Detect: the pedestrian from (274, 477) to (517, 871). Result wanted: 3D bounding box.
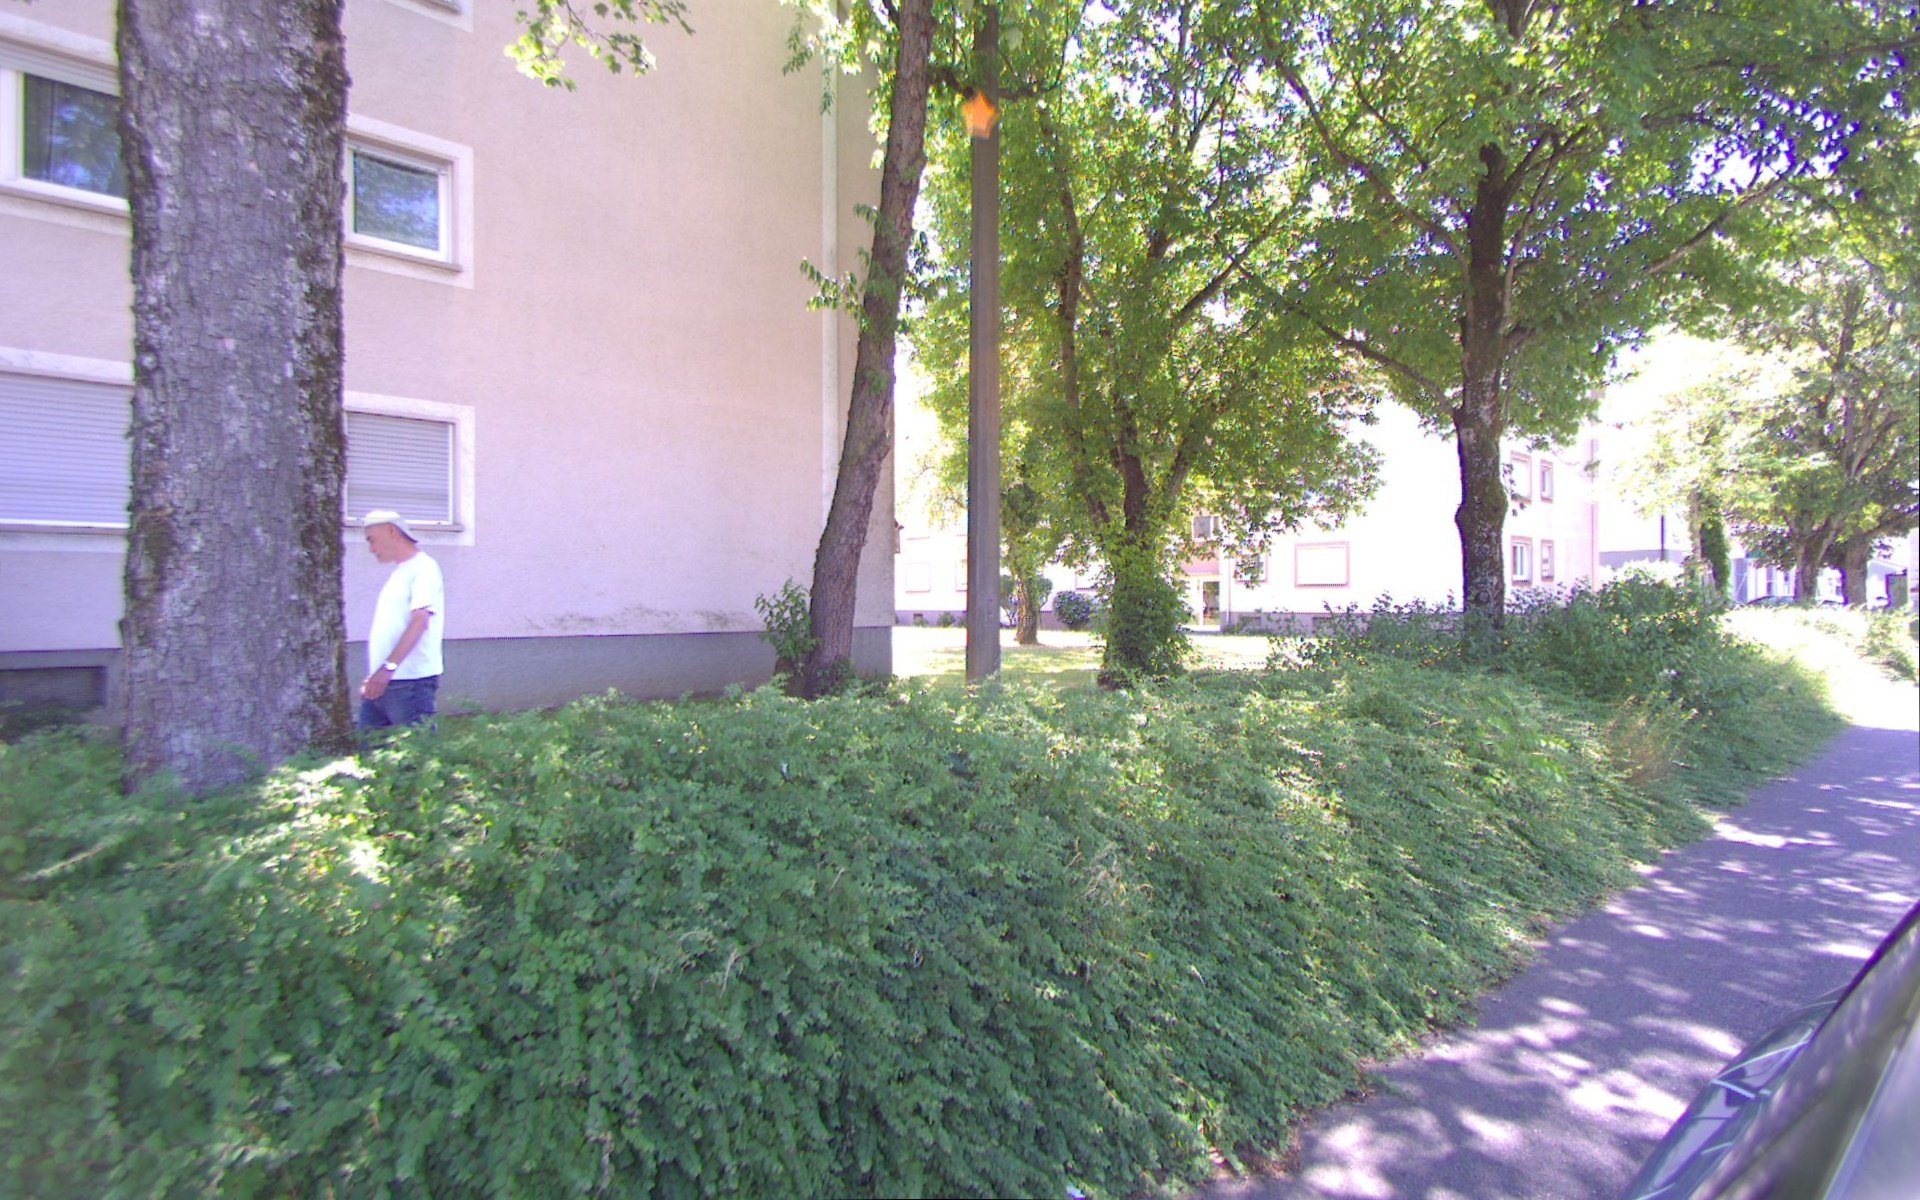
[{"bbox_3d":[-3.007,0.360,5.436,0.668,1.897,0.894,-3,-1,28],"label":"pedestrian"}]
